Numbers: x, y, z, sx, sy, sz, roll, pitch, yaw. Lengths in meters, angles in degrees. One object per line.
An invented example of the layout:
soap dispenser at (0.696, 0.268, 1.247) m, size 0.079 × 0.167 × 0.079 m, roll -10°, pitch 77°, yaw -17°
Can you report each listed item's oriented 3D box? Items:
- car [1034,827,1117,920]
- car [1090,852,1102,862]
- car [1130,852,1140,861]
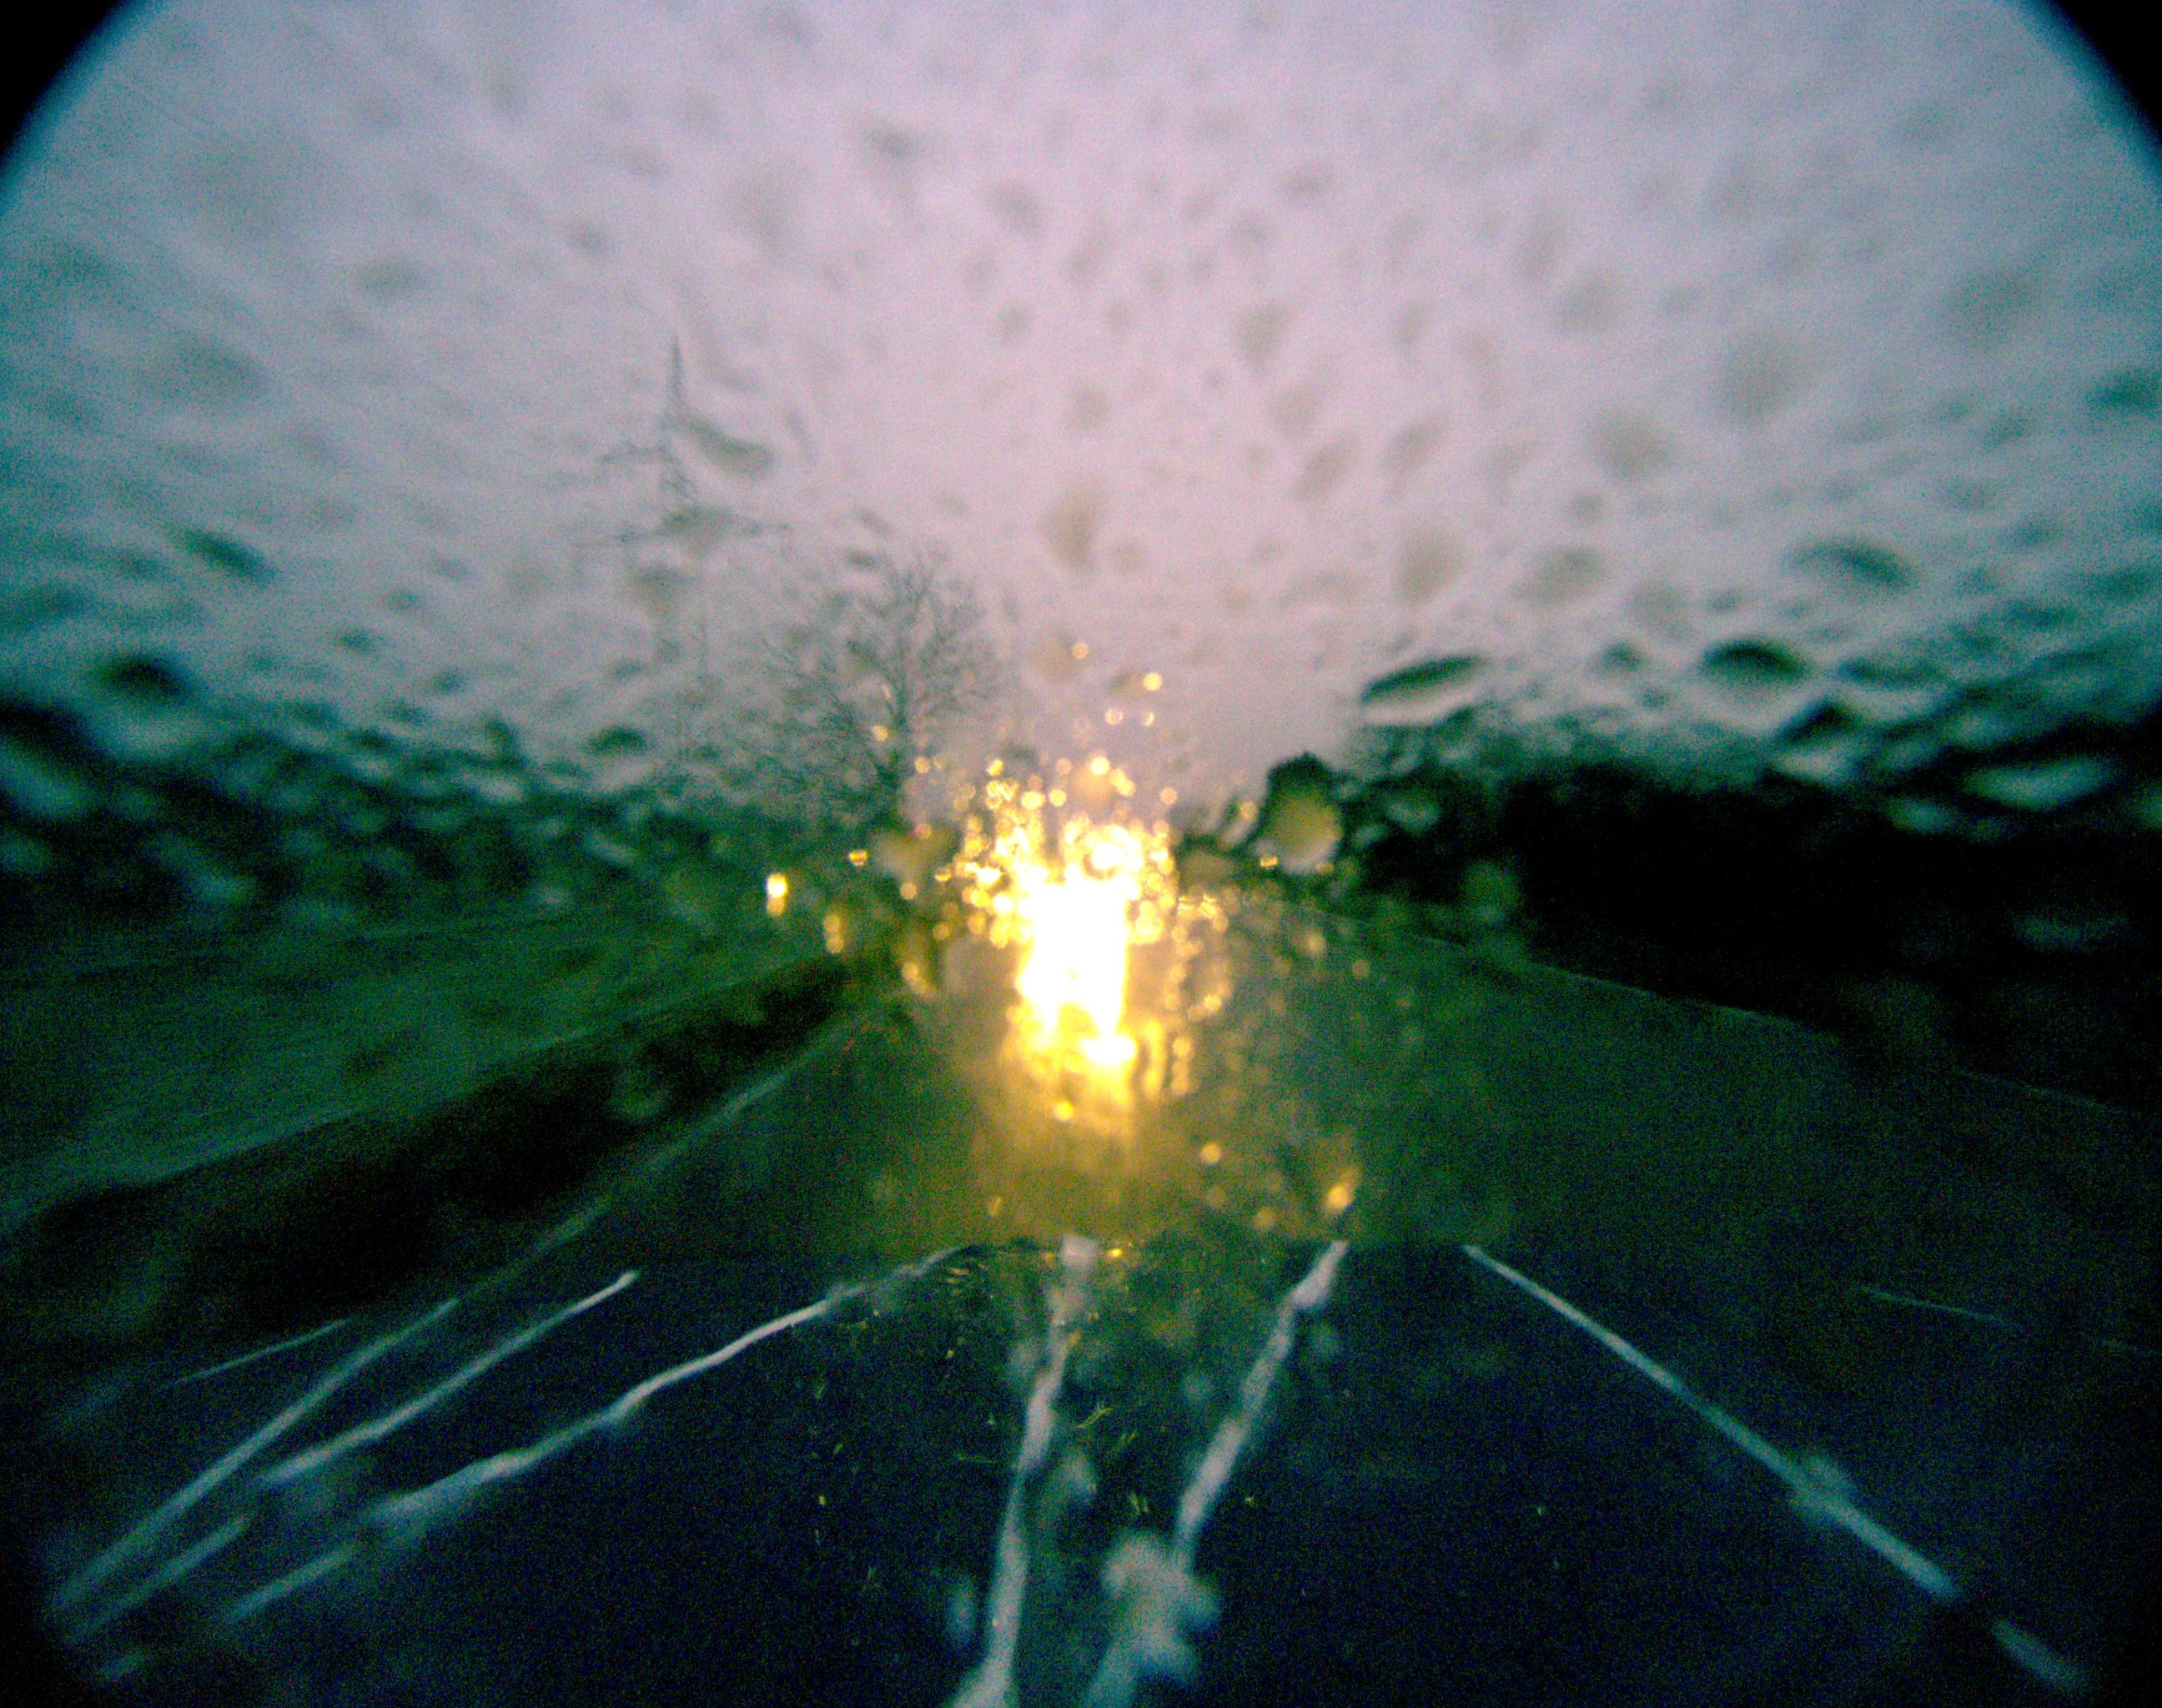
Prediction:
car at (-0.072, 0.453, 20.798) m, size 1.953 × 2.195 × 4.534 m, roll -2°, pitch 1°, yaw 2°
car at (2.511, 0.478, 130.493) m, size 1.912 × 1.549 × 3.928 m, roll -2°, pitch 1°, yaw 1°
car at (11.462, 0.518, 162.271) m, size 1.912 × 1.654 × 3.928 m, roll -2°, pitch 1°, yaw 1°
